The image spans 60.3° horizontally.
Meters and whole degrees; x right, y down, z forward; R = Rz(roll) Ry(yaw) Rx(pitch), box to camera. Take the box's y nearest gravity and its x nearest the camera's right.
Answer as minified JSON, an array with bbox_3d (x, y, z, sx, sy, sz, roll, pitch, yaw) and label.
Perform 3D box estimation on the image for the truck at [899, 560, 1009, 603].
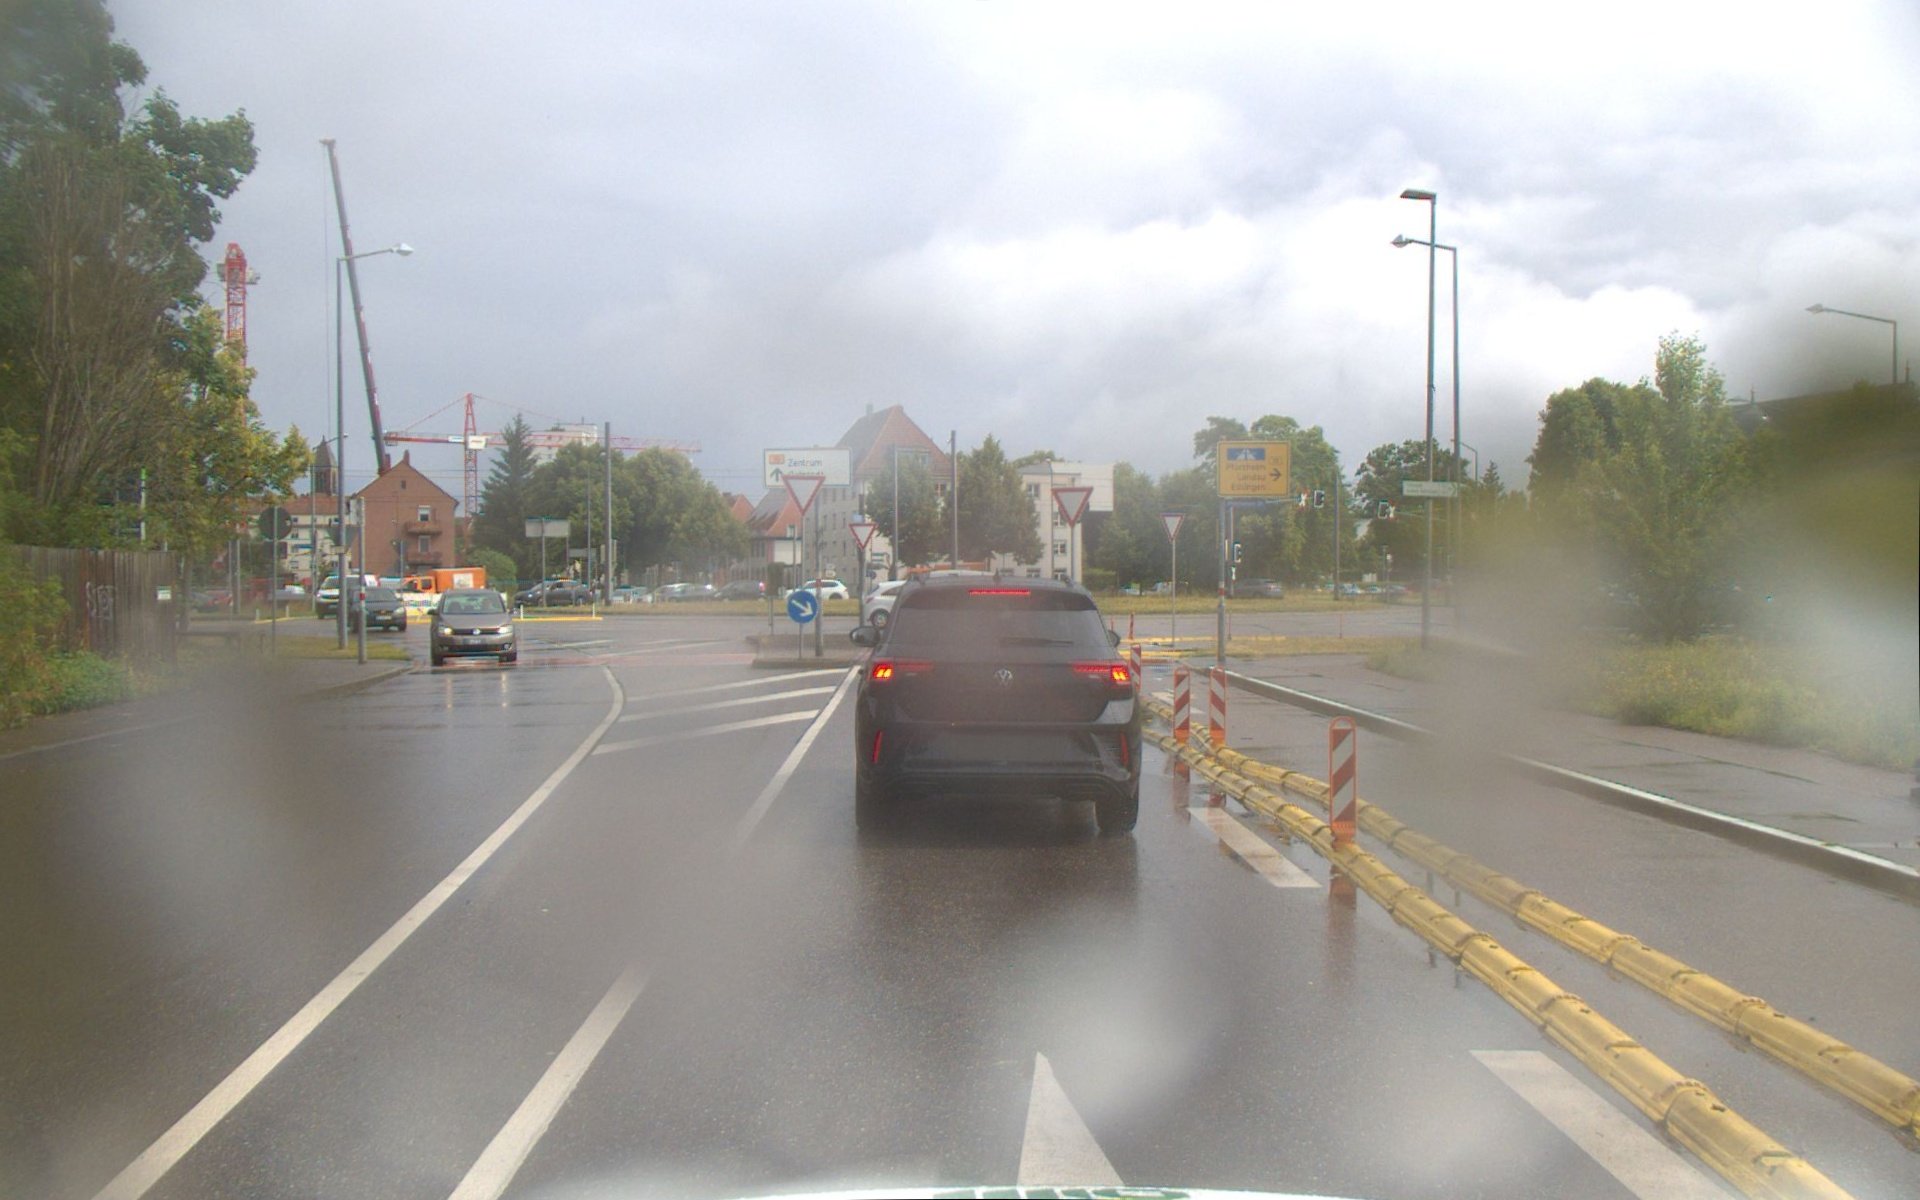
[{"bbox_3d":[-0.409,-1.167,105.403,6.923,2.696,2.329,0,1,-2],"label":"truck"}]

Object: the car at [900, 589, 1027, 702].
[{"bbox_3d":[-0.019,0.613,24.635,1.701,1.540,3.602,0,1,-3],"label":"car"}]

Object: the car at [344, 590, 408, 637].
[{"bbox_3d":[-19.899,0.459,56.276,1.849,1.508,4.149,-1,0,-22],"label":"car"}]

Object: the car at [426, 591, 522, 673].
[{"bbox_3d":[-10.746,0.659,36.391,1.754,1.579,4.401,-3,1,-19],"label":"car"}]

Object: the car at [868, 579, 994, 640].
[{"bbox_3d":[-0.956,0.283,52.431,3.907,1.862,1.999,0,0,-3],"label":"car"}]

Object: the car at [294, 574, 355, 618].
[{"bbox_3d":[-28.479,-0.196,74.266,1.856,1.909,5.115,-1,1,-13],"label":"car"}]

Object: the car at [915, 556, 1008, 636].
[{"bbox_3d":[0.090,-0.123,40.442,1.824,1.840,4.407,0,1,6],"label":"car"}]

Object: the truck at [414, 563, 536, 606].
[{"bbox_3d":[-29.007,-0.946,98.988,6.634,2.485,2.409,-1,1,-31],"label":"truck"}]

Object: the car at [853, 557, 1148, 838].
[{"bbox_3d":[0.119,0.555,11.321,1.675,1.601,3.680,1,0,-4],"label":"car"}]

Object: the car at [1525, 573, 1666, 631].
[{"bbox_3d":[19.021,0.039,49.660,3.858,1.673,1.672,0,1,17],"label":"car"}]
